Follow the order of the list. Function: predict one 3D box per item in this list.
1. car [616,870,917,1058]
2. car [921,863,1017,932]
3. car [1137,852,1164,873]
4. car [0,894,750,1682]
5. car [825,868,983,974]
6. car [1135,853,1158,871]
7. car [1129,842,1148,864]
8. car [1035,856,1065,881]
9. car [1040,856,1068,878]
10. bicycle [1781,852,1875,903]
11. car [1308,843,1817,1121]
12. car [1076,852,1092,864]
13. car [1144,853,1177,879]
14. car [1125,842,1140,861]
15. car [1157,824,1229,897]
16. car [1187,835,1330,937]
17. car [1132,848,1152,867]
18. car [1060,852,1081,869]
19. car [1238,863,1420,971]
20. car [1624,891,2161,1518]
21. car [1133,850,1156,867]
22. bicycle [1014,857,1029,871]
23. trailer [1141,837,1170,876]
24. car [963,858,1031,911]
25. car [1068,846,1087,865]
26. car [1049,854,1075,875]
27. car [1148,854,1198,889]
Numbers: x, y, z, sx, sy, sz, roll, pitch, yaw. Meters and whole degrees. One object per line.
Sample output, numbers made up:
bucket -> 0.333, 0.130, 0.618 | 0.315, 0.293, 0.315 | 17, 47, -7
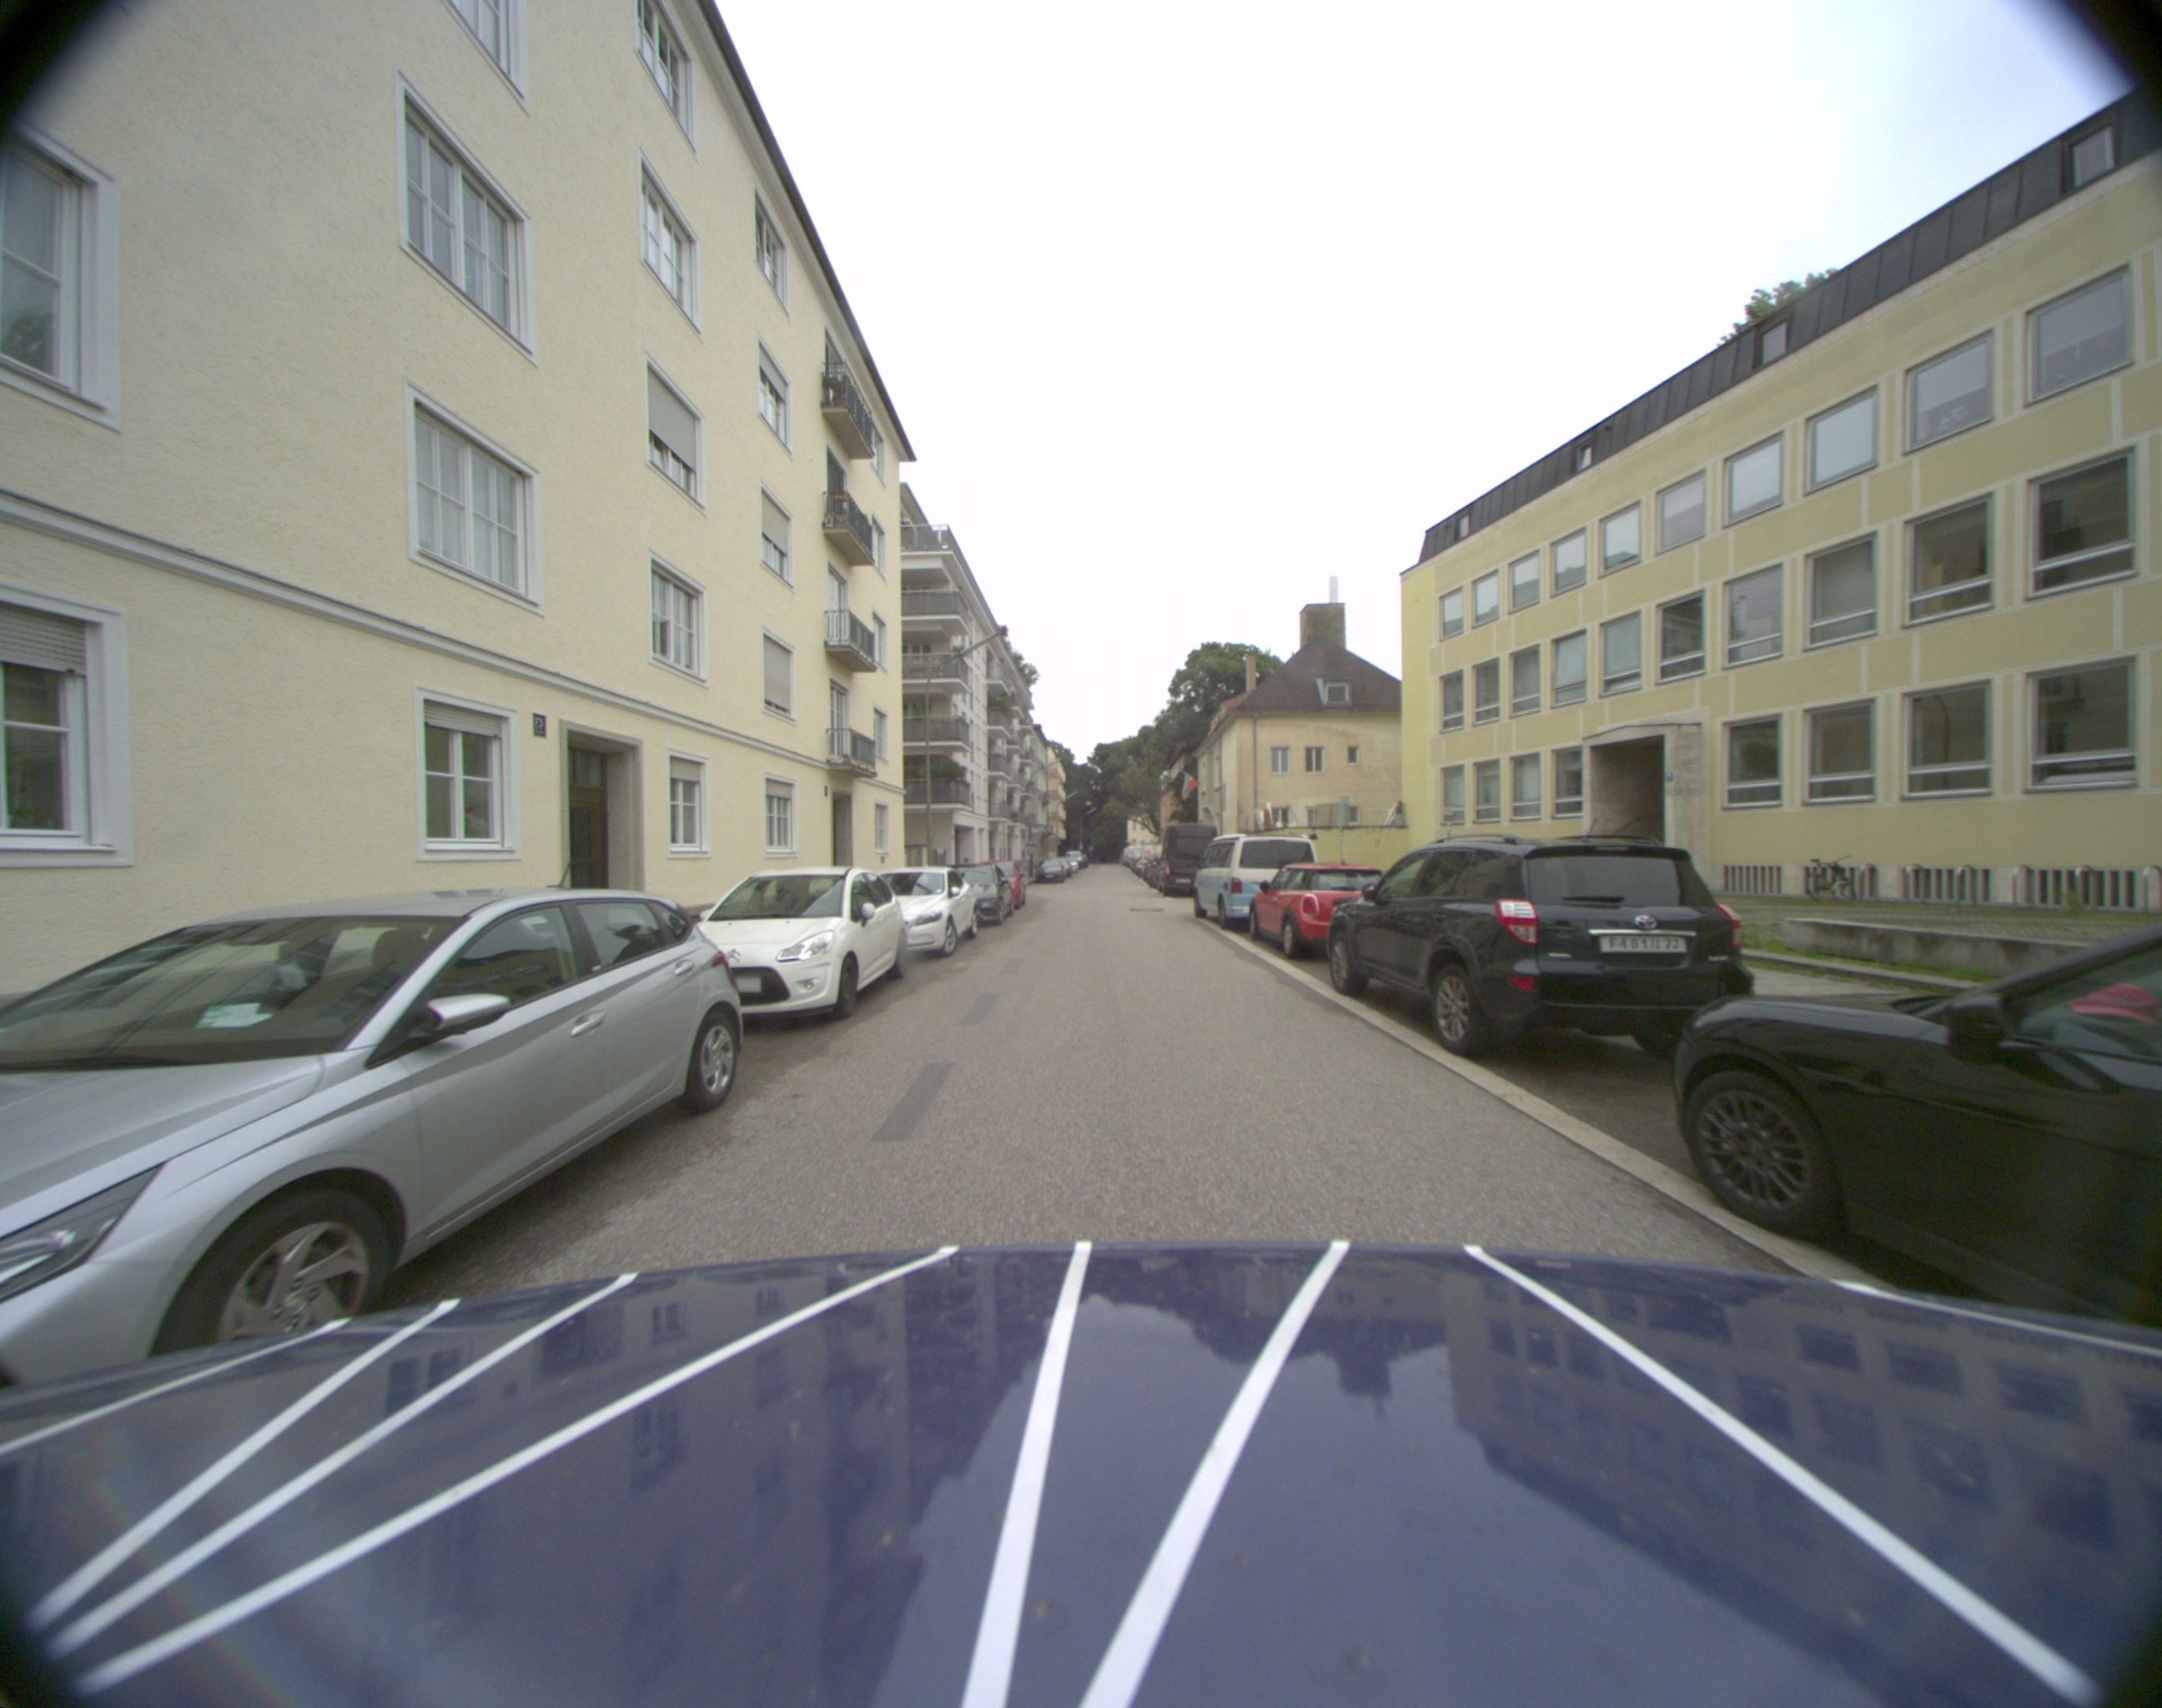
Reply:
car -> -3.160, 0.994, 8.651 | 1.683, 1.473, 4.166 | -1, 1, 0
car -> -2.633, 0.981, 18.845 | 1.683, 1.402, 4.421 | -1, 1, 0
car -> 5.213, 0.602, 57.353 | 1.767, 1.505, 3.842 | 0, 1, 2
car -> -3.120, 1.022, 3.134 | 1.683, 1.419, 4.166 | -1, 1, 0
car -> -2.865, 1.018, 13.296 | 1.683, 1.402, 4.442 | -1, 1, 0
car -> 5.361, 0.636, 62.588 | 1.817, 1.339, 3.746 | -1, 1, 3
car -> 6.393, -0.131, 84.821 | 2.104, 2.418, 4.550 | -1, 1, 4
car -> -1.930, 0.891, 47.670 | 1.784, 1.385, 4.245 | -1, 1, -2
car -> -1.833, 0.878, 53.168 | 1.766, 1.449, 3.418 | -1, 1, 1
bicycle -> 16.579, 0.503, 16.866 | 1.954, 1.008, 0.580 | -3, 1, -16
car -> 3.630, 0.780, 6.906 | 1.748, 1.656, 4.448 | 2, 0, 0
car -> 0.370, 0.461, 99.982 | 1.871, 1.455, 4.268 | -1, 1, 3
car -> 4.791, 0.699, 46.357 | 1.817, 1.491, 4.644 | 0, 1, 3
car -> 6.843, -0.357, 101.180 | 1.880, 2.539, 4.370 | -1, 1, 3
car -> 4.319, 0.227, 30.220 | 2.302, 2.630, 5.654 | 0, 0, 3
car -> 3.762, 0.601, 17.131 | 1.933, 1.967, 5.021 | 0, 1, -1
car -> 5.952, 0.322, 74.438 | 1.817, 1.723, 3.649 | -1, 1, 2
car -> -0.919, 0.572, 69.028 | 1.766, 1.449, 3.747 | -1, 1, 1
car -> 3.857, 0.900, 12.523 | 1.748, 1.379, 3.918 | -2, 0, 1
car -> 3.510, 0.921, 1.792 | 1.684, 1.445, 3.869 | 1, 0, 0
car -> 5.711, 0.415, 68.452 | 1.818, 1.444, 3.927 | -1, 1, 1
bicycle -> -4.820, 0.789, 61.643 | 0.580, 1.008, 1.955 | -2, 1, 14
trailer -> 5.111, 0.135, 51.970 | 1.817, 2.521, 3.390 | 3, 1, 6
car -> -2.606, 0.914, 24.285 | 1.683, 1.489, 3.823 | -1, 1, 0
car -> -0.327, 0.155, 84.207 | 1.871, 2.002, 4.268 | -1, 1, 3
car -> -1.378, 0.795, 57.050 | 1.766, 1.449, 3.747 | -1, 1, 1
car -> 4.237, 0.778, 35.454 | 1.706, 1.485, 3.488 | -1, 1, -3
